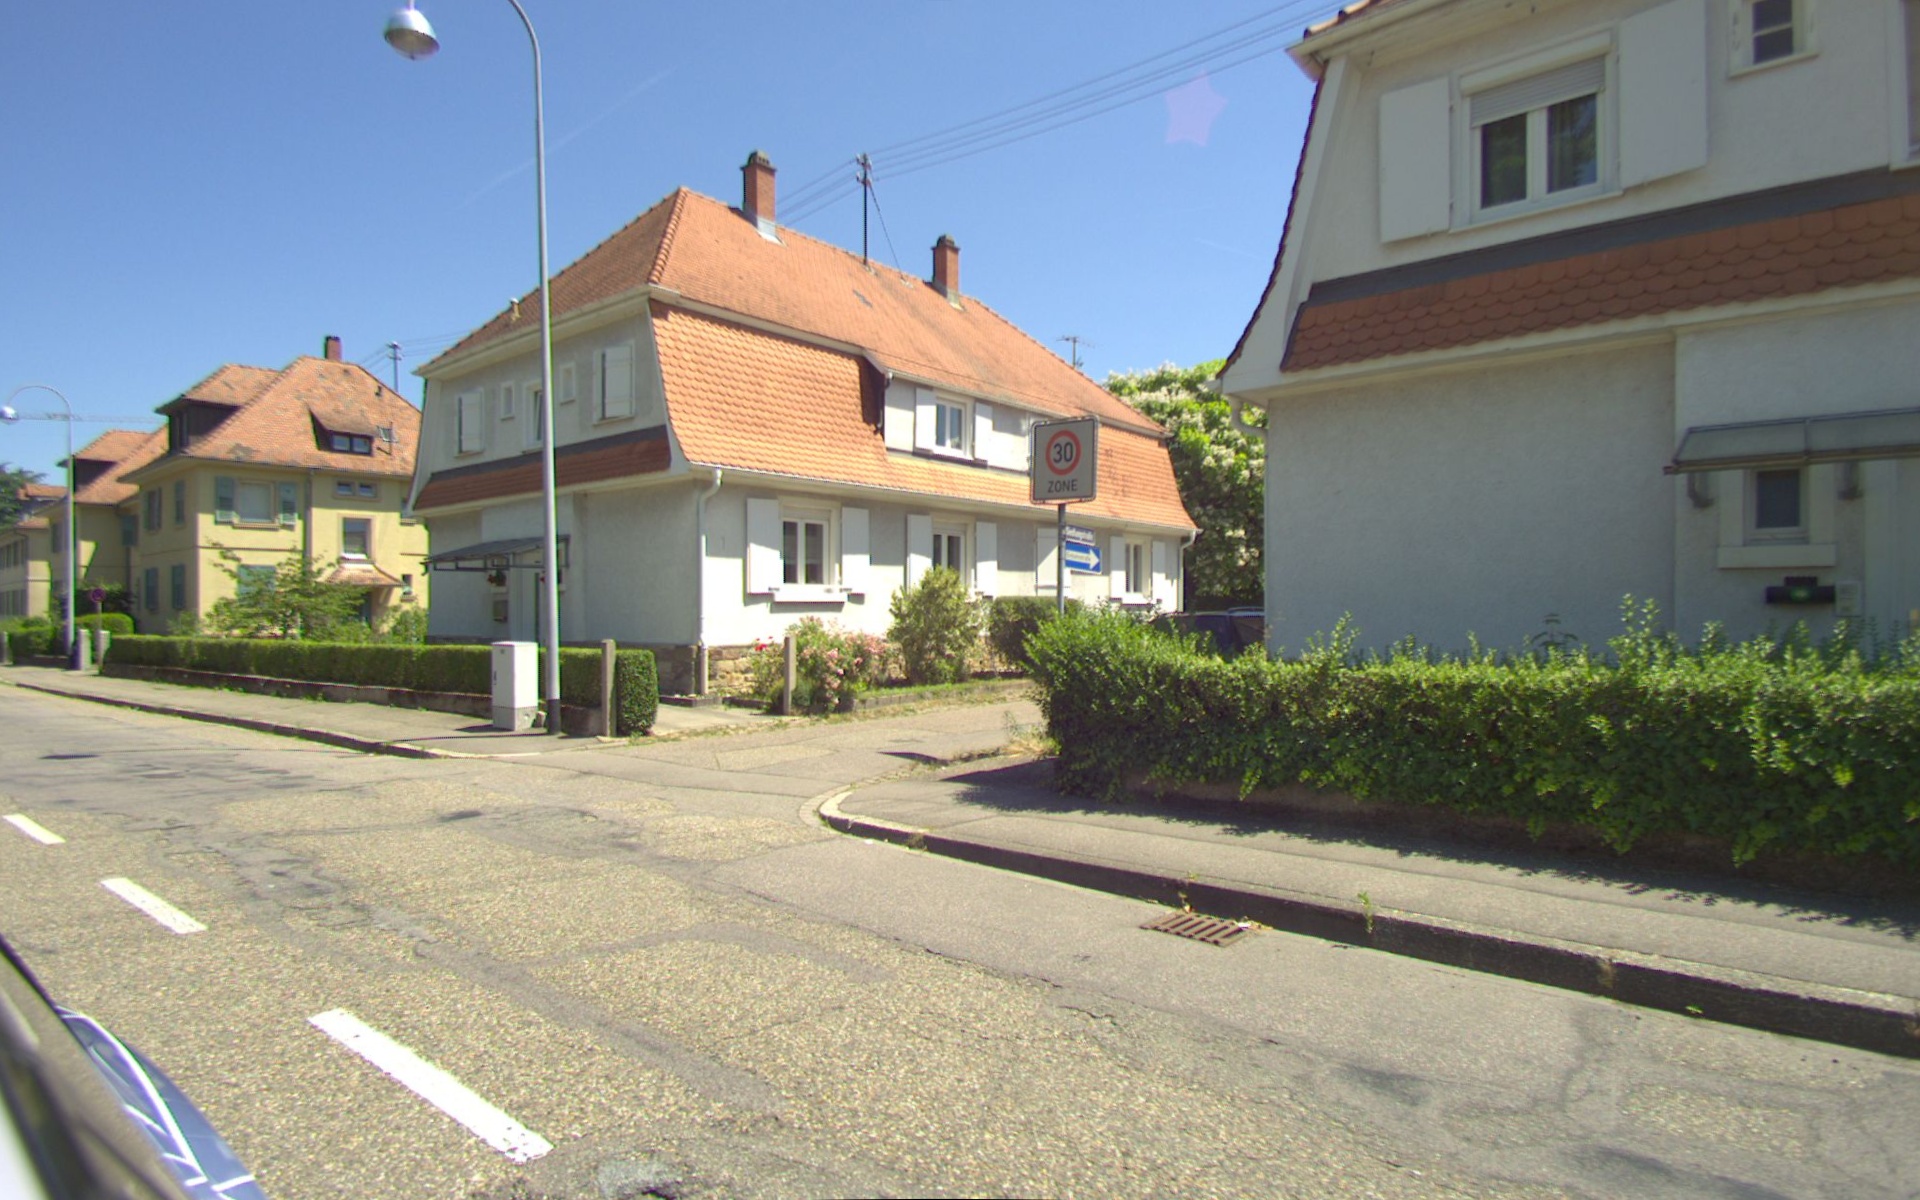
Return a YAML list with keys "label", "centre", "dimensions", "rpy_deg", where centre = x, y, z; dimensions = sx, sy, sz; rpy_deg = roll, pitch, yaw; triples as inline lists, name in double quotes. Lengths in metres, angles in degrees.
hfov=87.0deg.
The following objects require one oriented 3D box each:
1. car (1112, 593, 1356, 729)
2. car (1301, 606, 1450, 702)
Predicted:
- label: "car"
  centre: [3.585, 0.710, 12.792]
  dimensions: [1.771, 1.435, 3.757]
  rpy_deg: [-2, -2, 35]
- label: "car"
  centre: [7.289, 0.856, 17.565]
  dimensions: [1.769, 1.452, 3.761]
  rpy_deg: [-2, -1, 32]
